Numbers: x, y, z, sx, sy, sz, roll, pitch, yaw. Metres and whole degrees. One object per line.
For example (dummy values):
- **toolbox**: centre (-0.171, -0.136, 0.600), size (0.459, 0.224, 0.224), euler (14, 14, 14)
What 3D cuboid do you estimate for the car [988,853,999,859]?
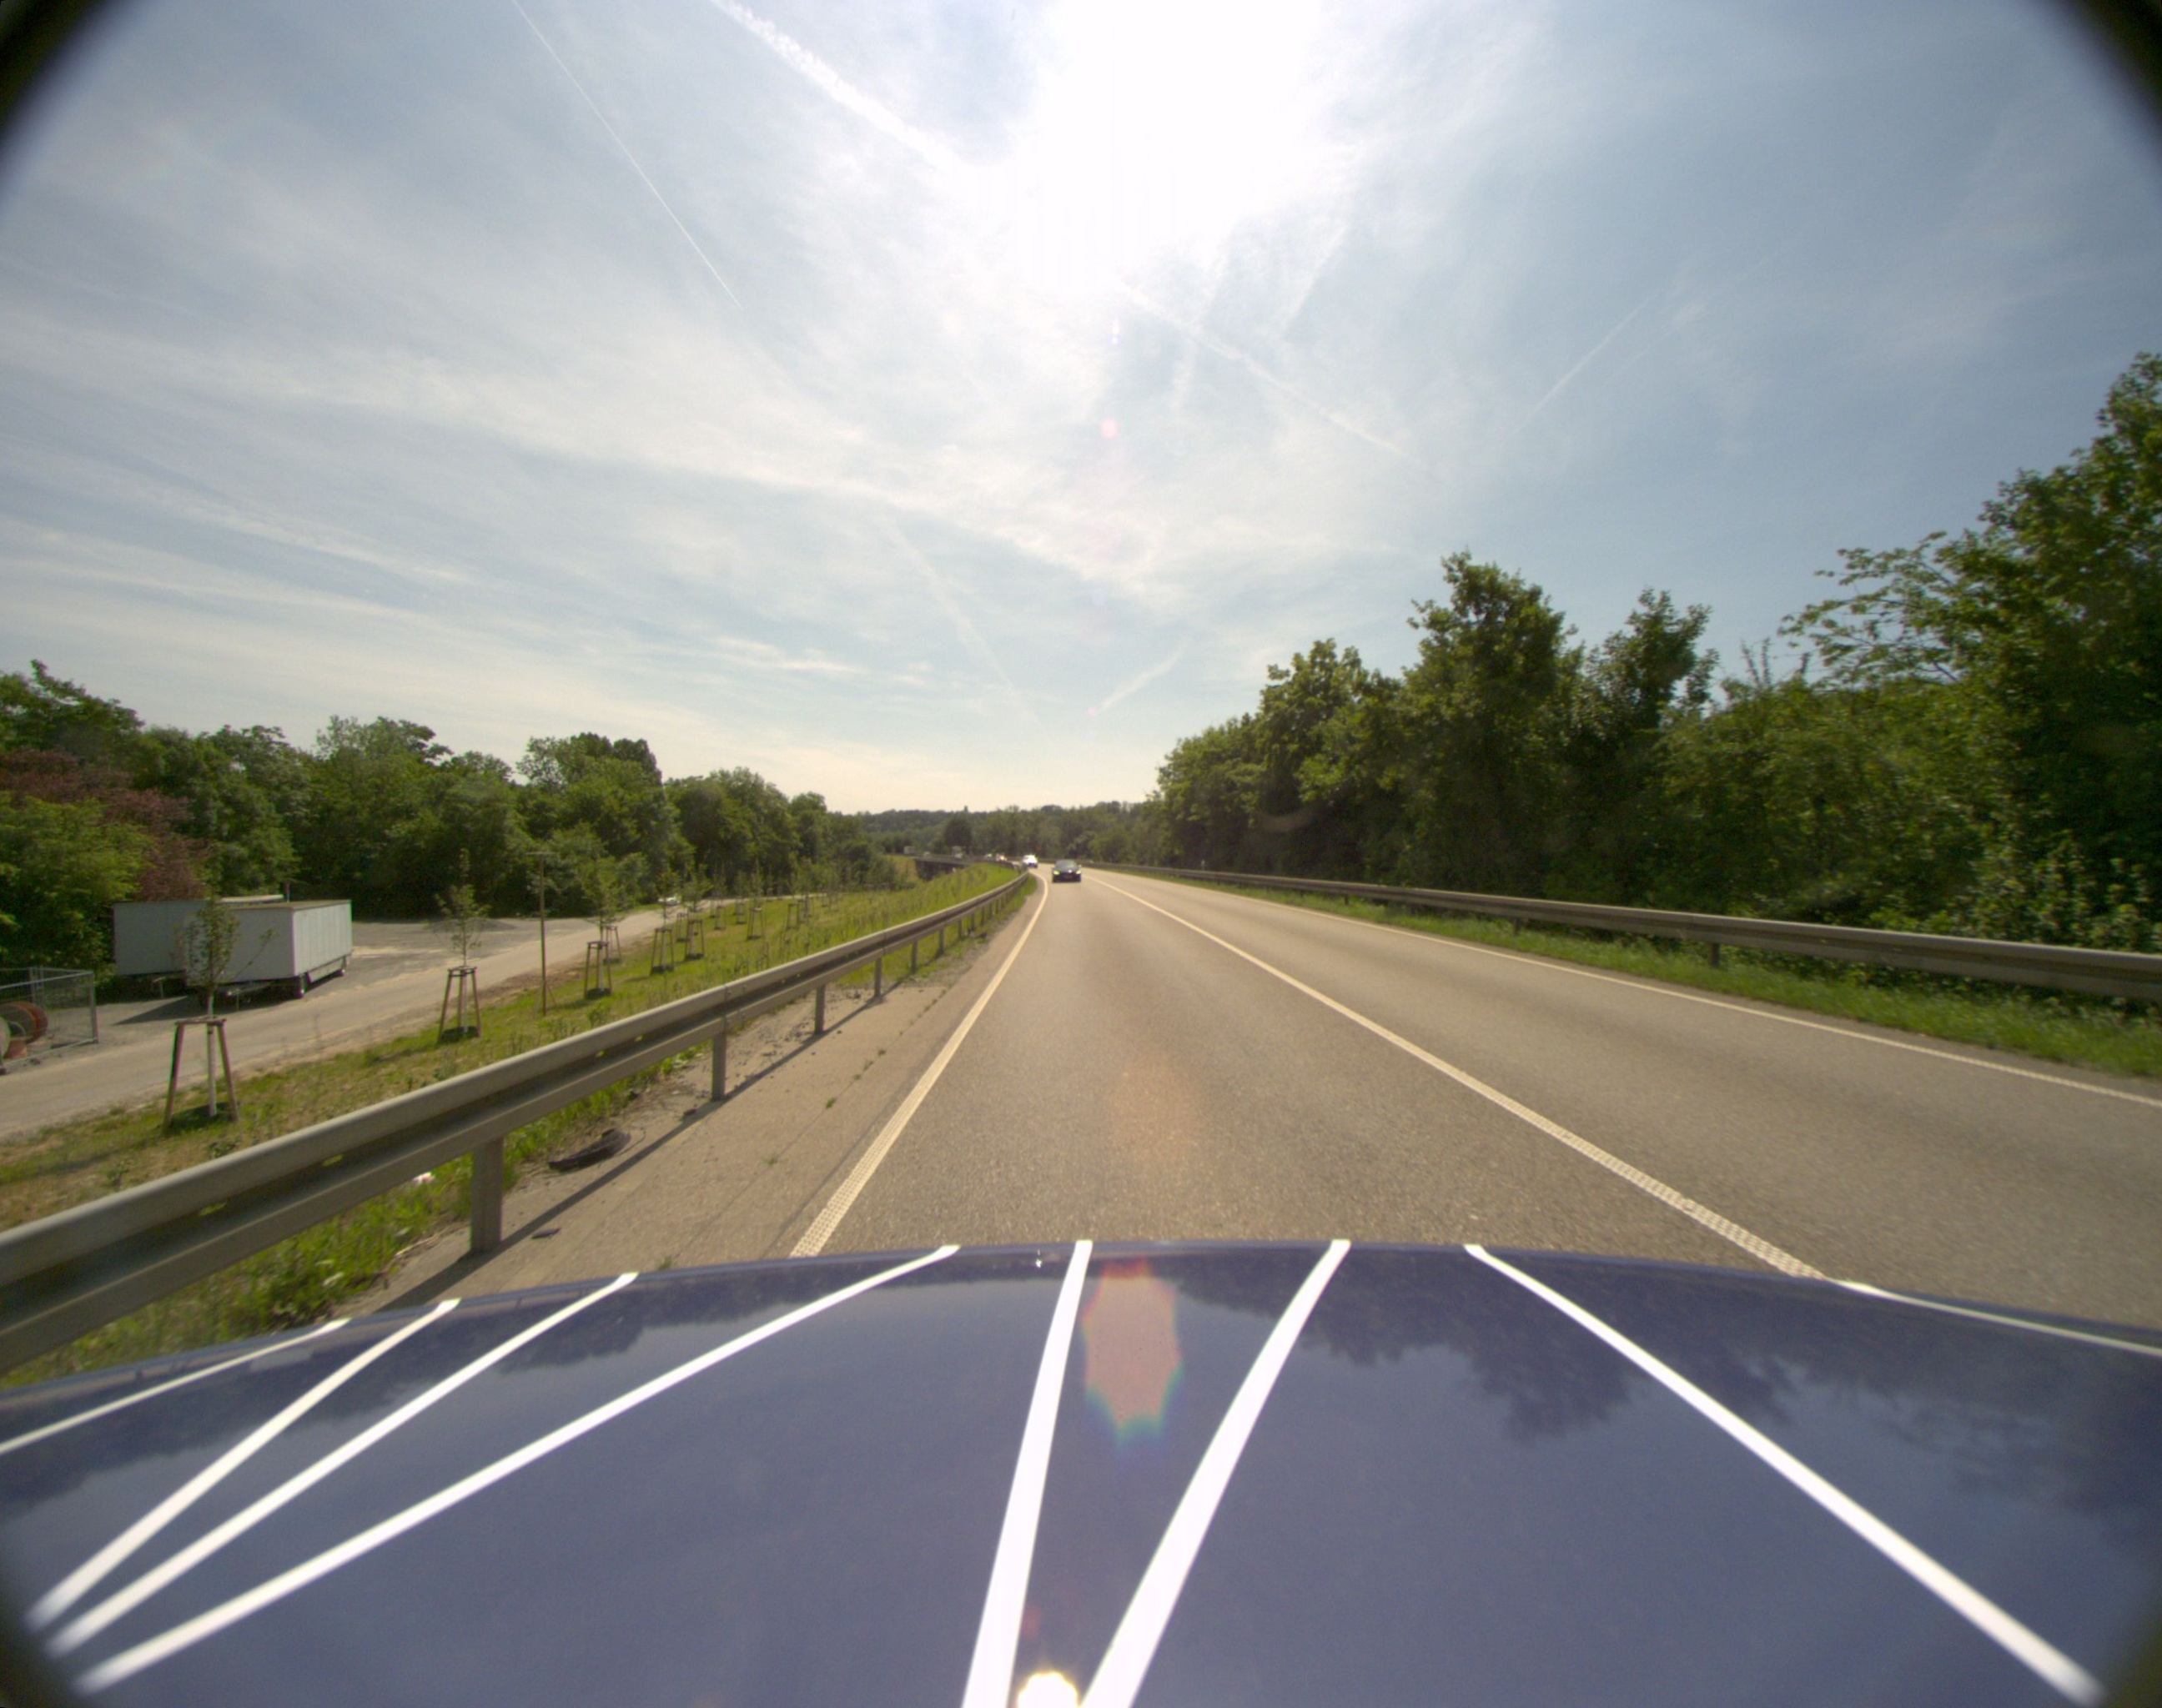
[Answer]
- **car**: centre (-21.558, 0.423, 186.506), size (1.775, 1.485, 4.163), euler (-2, 1, -19)

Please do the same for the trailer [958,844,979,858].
- **trailer**: centre (-32.407, -0.904, 218.352), size (3.131, 3.957, 15.330), euler (-1, 1, -19)

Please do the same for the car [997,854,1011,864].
- **car**: centre (-14.497, 0.891, 143.331), size (1.983, 1.723, 3.994), euler (-2, 2, -14)

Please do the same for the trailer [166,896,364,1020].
- **trailer**: centre (-30.700, 3.549, 29.277), size (2.732, 3.308, 11.864), euler (-2, 0, -35)

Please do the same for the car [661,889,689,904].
- **car**: centre (-47.258, 4.969, 88.483), size (1.865, 1.474, 4.601), euler (3, -1, -16)

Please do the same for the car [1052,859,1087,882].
- **car**: centre (-0.810, 1.063, 50.084), size (1.981, 1.333, 3.997), euler (-1, 1, -6)

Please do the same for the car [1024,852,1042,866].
- **car**: centre (-6.401, 0.637, 101.063), size (1.982, 1.779, 3.997), euler (-1, 0, -8)

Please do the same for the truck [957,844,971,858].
- **truck**: centre (-34.613, -0.931, 224.889), size (3.131, 3.935, 6.610), euler (-1, 1, -19)

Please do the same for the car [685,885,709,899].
- **car**: centre (-50.188, 4.954, 99.376), size (1.864, 1.672, 4.195), euler (2, -1, -13)

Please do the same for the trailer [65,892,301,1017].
- **trailer**: centre (-35.296, 3.581, 30.618), size (2.732, 3.585, 11.865), euler (-3, 1, -33)
